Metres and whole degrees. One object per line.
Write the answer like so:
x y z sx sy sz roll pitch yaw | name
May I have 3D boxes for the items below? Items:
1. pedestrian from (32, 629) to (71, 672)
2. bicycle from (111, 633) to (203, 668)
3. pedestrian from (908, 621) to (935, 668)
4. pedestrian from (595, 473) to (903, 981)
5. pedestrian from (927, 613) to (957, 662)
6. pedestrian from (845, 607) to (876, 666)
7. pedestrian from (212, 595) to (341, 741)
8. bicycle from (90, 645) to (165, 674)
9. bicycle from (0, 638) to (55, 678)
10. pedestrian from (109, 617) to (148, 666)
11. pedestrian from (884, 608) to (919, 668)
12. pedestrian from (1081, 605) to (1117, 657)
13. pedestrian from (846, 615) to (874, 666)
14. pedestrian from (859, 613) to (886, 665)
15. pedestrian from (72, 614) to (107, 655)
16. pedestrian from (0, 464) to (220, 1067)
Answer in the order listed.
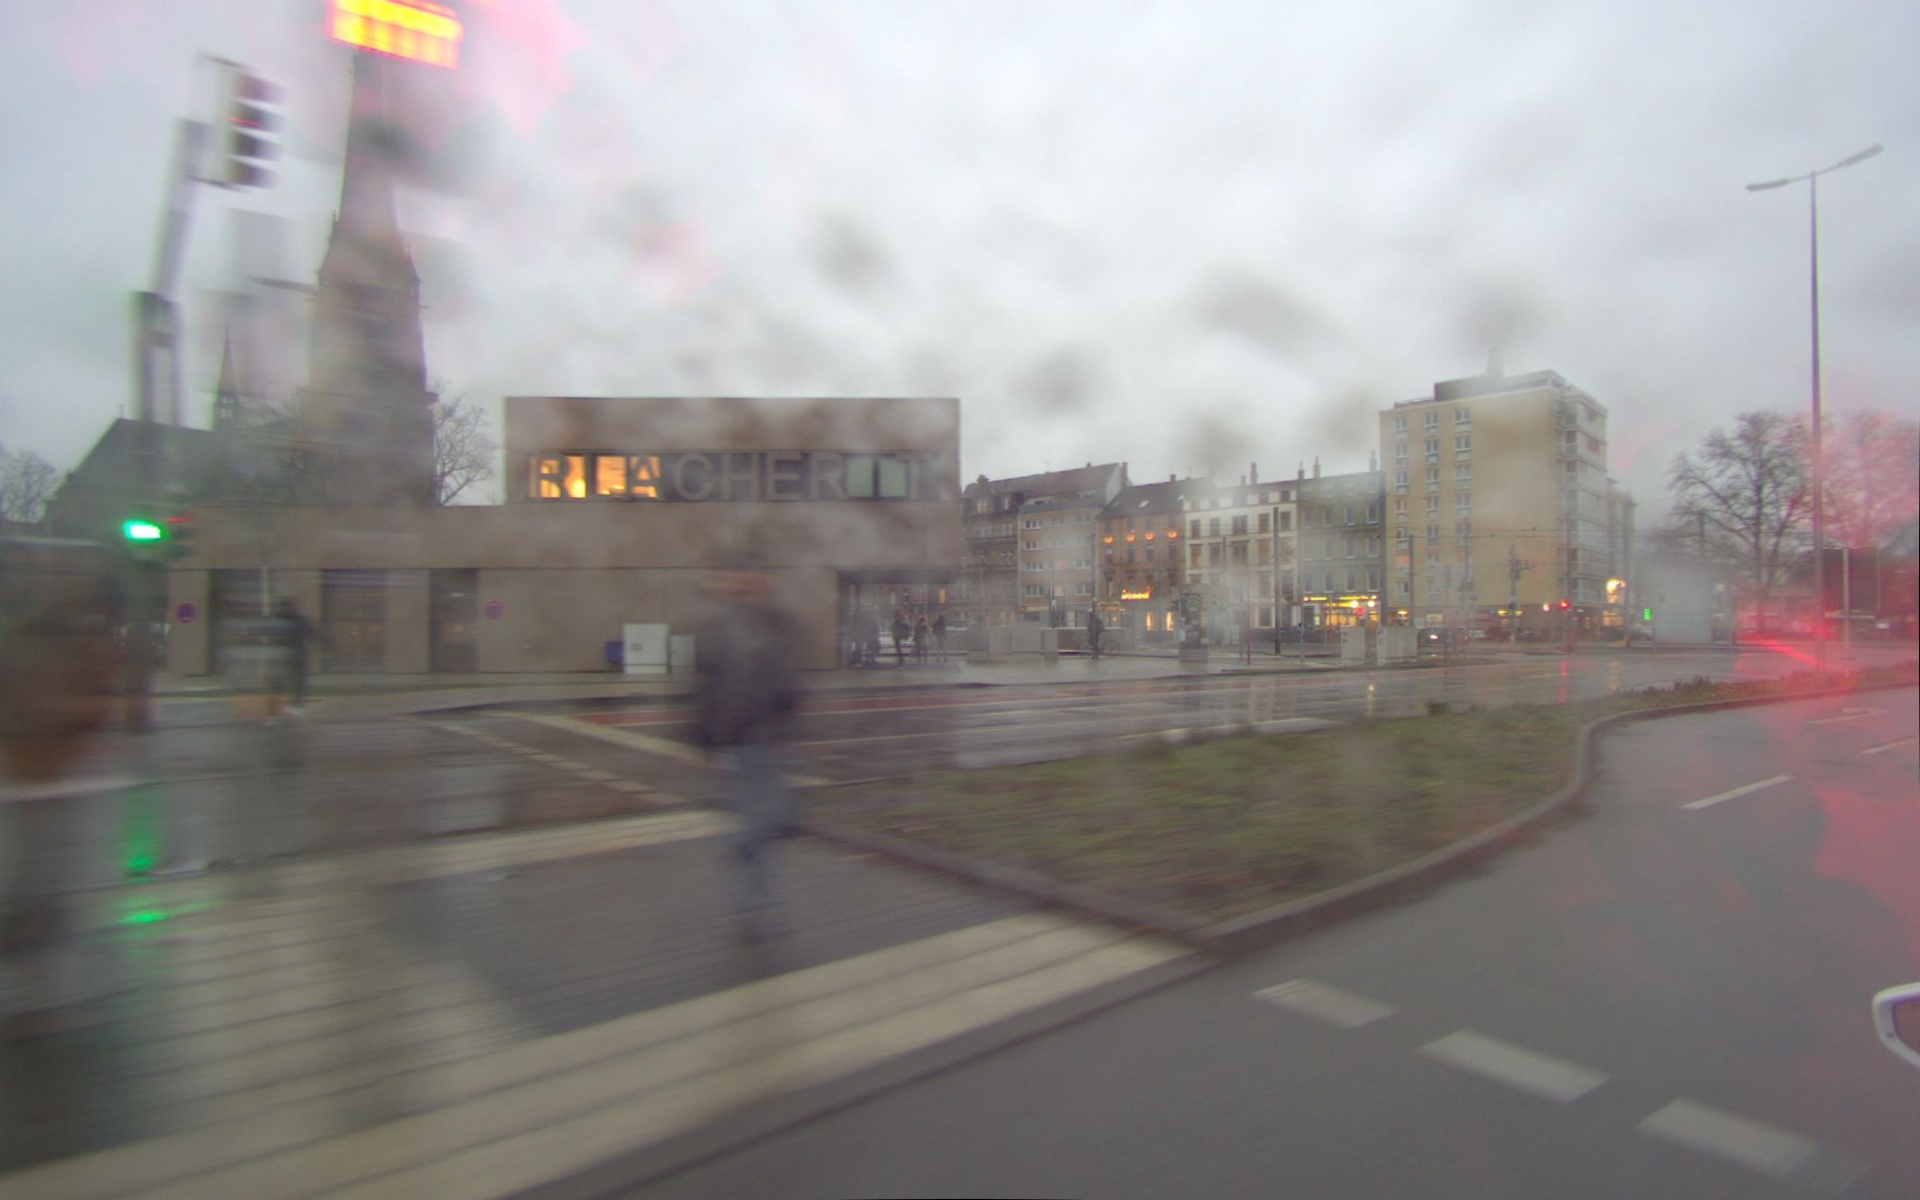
-42.210 2.345 46.670 0.834 1.875 1.047 -3 2 32 | pedestrian
-28.248 1.782 35.349 2.696 1.119 0.647 -2 0 1 | bicycle
-1.357 1.568 35.488 0.946 1.624 0.856 -1 -2 -3 | pedestrian
-0.980 0.503 4.683 1.099 2.032 0.839 -2 1 -37 | pedestrian
-0.648 1.380 36.938 0.789 1.774 0.759 -2 -2 41 | pedestrian
-3.030 1.101 30.536 0.733 1.749 0.738 0 -2 -24 | pedestrian
-9.421 0.904 13.918 1.216 1.883 1.030 -2 0 -22 | pedestrian
-26.855 1.916 32.417 1.828 0.883 0.607 0 -2 -2 | bicycle
-28.014 1.680 29.175 2.699 1.119 0.607 -1 0 -5 | bicycle
-30.343 1.514 36.676 0.834 1.704 0.814 1 4 33 | pedestrian
-1.776 1.151 30.392 0.652 1.791 0.829 -2 -2 41 | pedestrian
5.276 1.179 38.176 1.102 1.944 1.062 0 -2 -7 | pedestrian
-3.515 1.413 35.292 0.736 1.749 0.736 0 -2 -34 | pedestrian
-2.970 1.314 34.067 0.733 1.749 0.738 0 -2 -24 | pedestrian
-41.236 1.638 47.590 0.834 1.874 1.033 -2 -2 33 | pedestrian
-3.448 0.528 3.416 1.015 1.883 1.070 -2 0 21 | pedestrian
